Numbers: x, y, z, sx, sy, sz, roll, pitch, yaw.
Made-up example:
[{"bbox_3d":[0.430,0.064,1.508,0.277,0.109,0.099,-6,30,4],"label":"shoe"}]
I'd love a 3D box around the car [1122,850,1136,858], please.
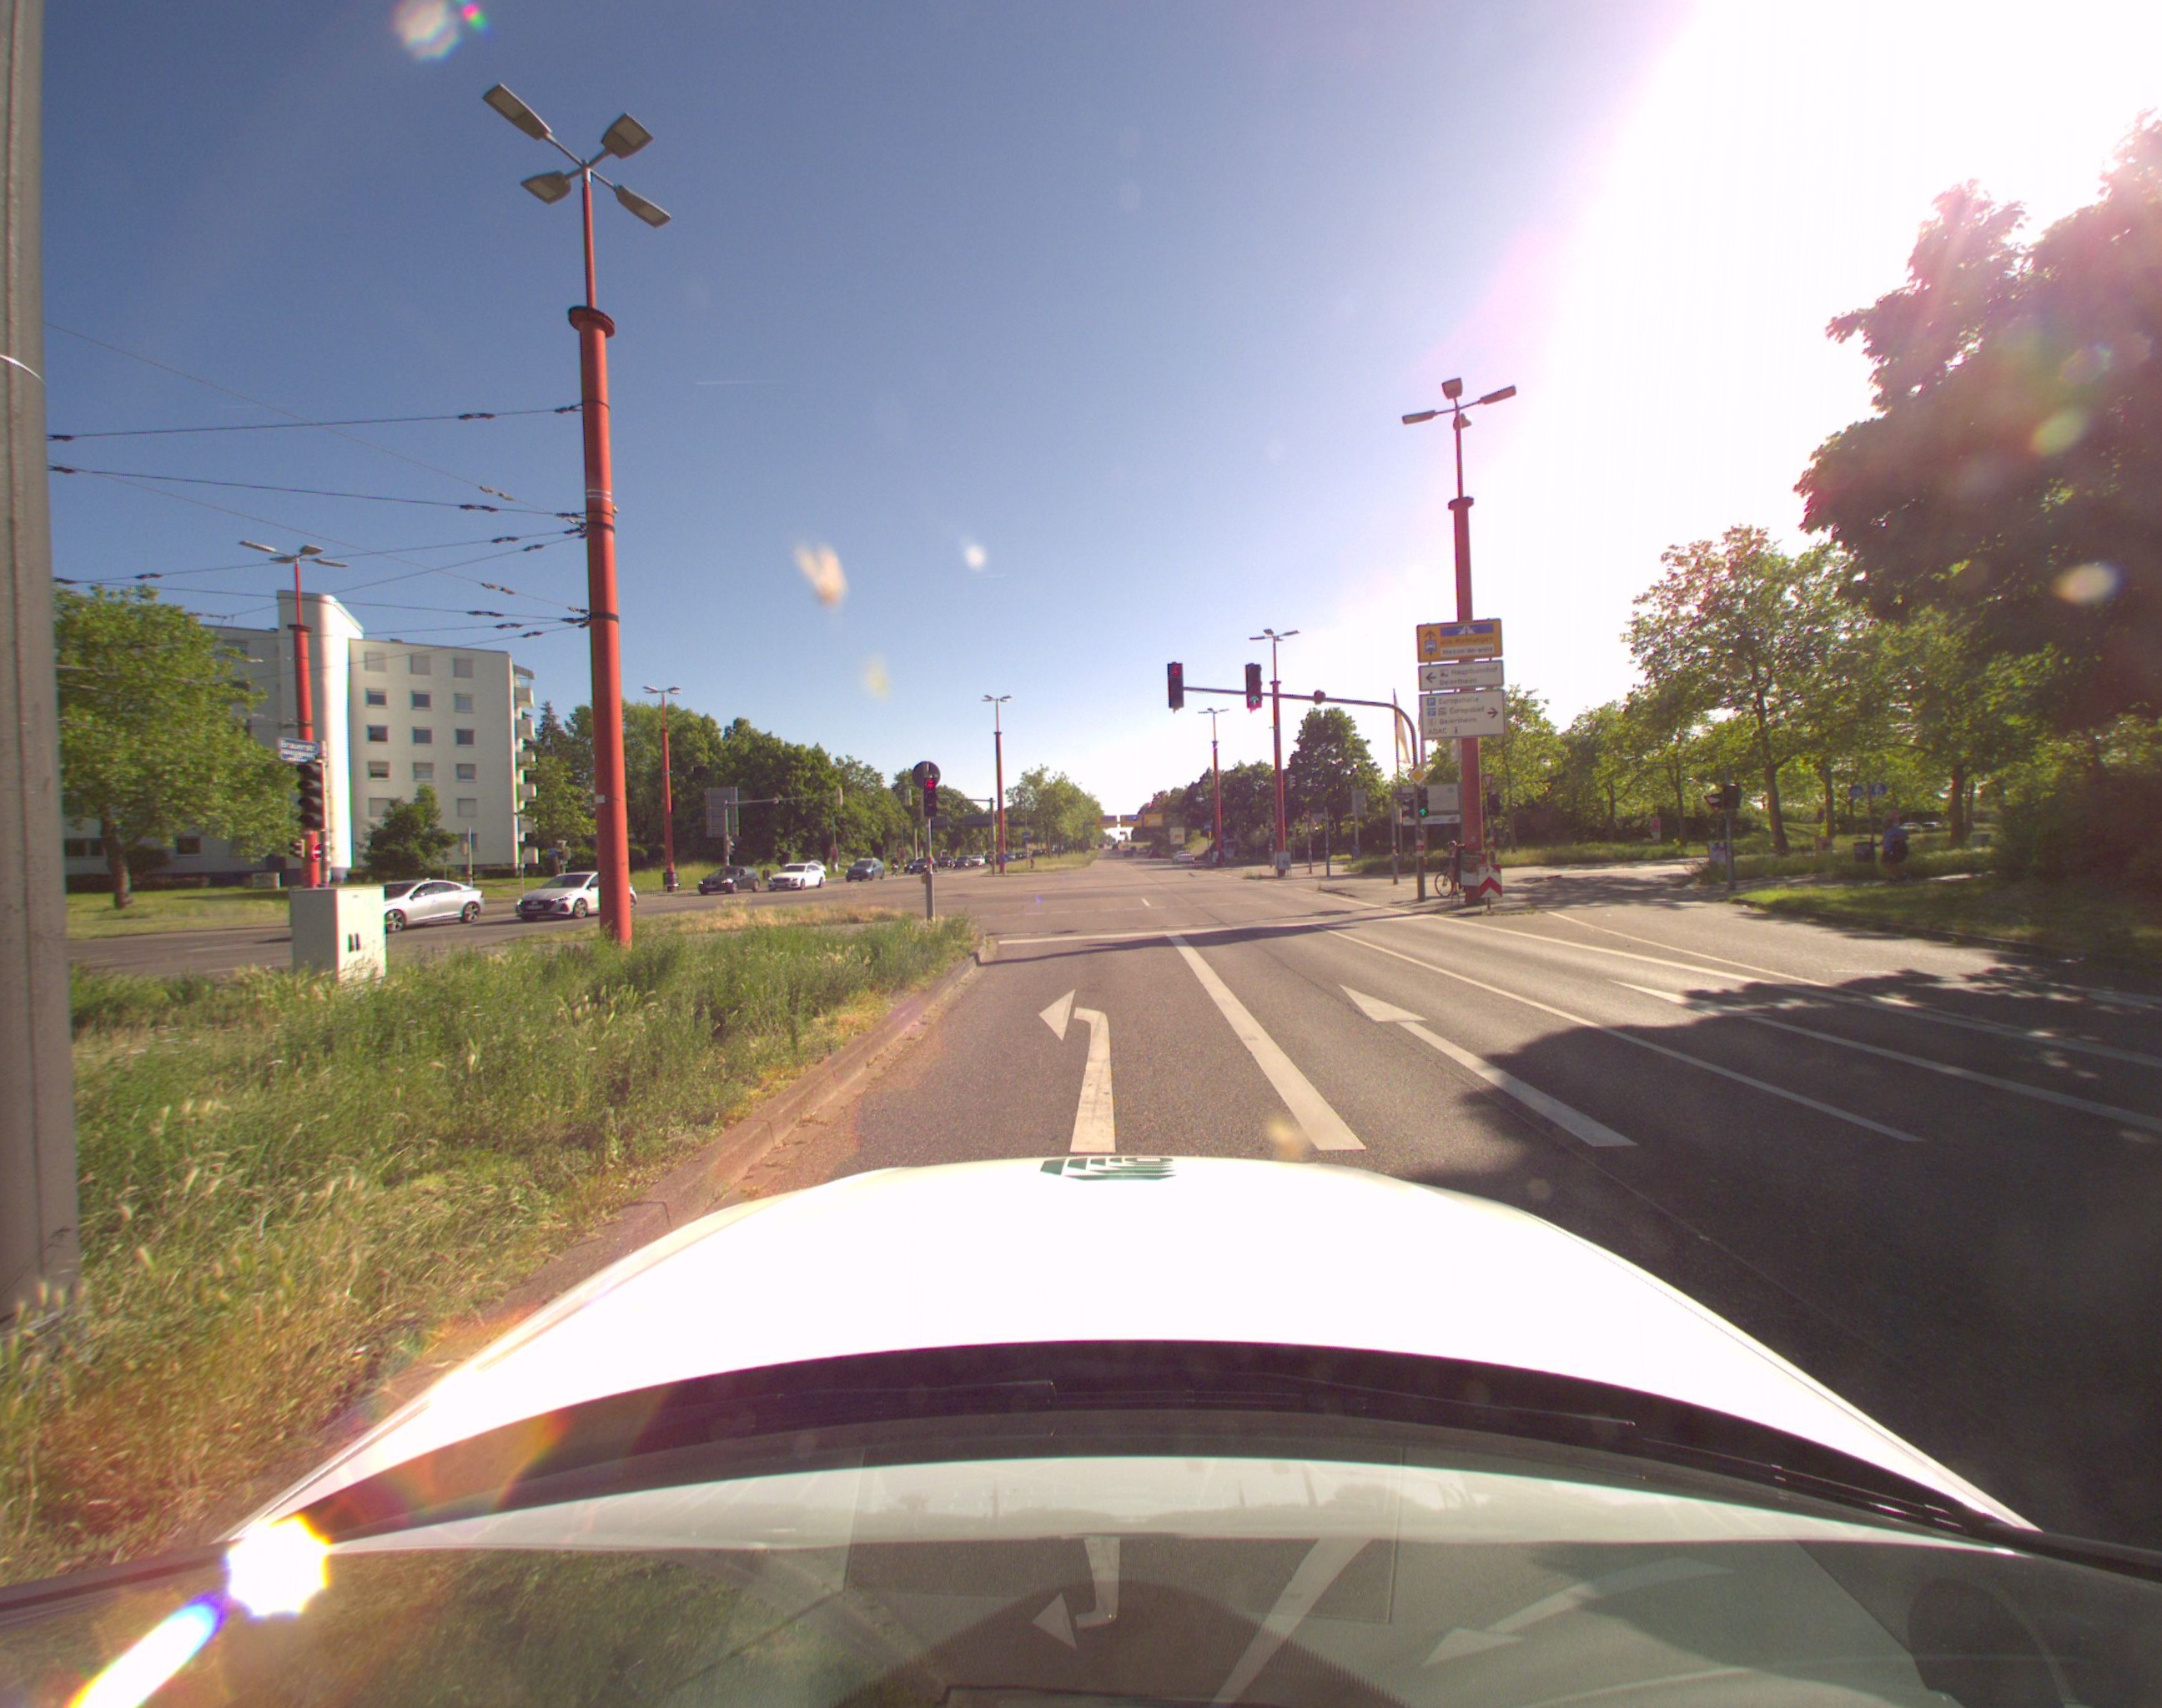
[{"bbox_3d":[8.866,-0.025,150.640,1.989,1.496,3.995,-2,0,-3],"label":"car"}]

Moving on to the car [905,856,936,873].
[{"bbox_3d":[-14.557,0.973,74.170,1.870,1.485,4.605,-1,0,0],"label":"car"}]

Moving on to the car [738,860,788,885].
[{"bbox_3d":[-21.896,1.240,56.215,1.870,1.576,4.000,-1,0,0],"label":"car"}]

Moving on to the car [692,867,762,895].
[{"bbox_3d":[-18.907,1.407,43.685,1.855,1.341,4.031,-3,0,1],"label":"car"}]

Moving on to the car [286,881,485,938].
[{"bbox_3d":[-20.144,1.552,23.899,1.986,1.374,4.401,-1,0,1],"label":"car"}]

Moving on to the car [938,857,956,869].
[{"bbox_3d":[-17.569,1.156,107.092,1.538,1.433,3.887,-3,0,2],"label":"car"}]

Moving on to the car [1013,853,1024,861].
[{"bbox_3d":[-12.009,0.533,155.926,1.697,1.558,3.806,-1,0,2],"label":"car"}]

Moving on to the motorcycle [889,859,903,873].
[{"bbox_3d":[-15.062,0.950,66.387,0.418,1.131,2.100,-1,0,9],"label":"motorcycle"}]

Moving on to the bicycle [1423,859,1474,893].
[{"bbox_3d":[10.773,0.643,23.855,2.181,0.878,0.553,-2,0,-43],"label":"bicycle"}]

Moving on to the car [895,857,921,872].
[{"bbox_3d":[-18.470,1.118,87.072,1.870,1.576,4.000,-1,0,0],"label":"car"}]

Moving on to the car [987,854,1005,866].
[{"bbox_3d":[-10.635,0.709,102.158,1.694,1.421,4.002,1,0,2],"label":"car"}]

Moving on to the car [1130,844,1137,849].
[{"bbox_3d":[14.621,-2.063,226.657,1.984,1.540,4.005,-2,0,4],"label":"car"}]

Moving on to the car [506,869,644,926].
[{"bbox_3d":[-16.131,1.328,26.254,1.582,1.472,4.186,-3,1,3],"label":"car"}]

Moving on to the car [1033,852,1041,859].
[{"bbox_3d":[-10.512,0.320,194.900,1.619,1.739,4.002,-2,0,2],"label":"car"}]

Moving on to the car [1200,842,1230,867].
[{"bbox_3d":[10.612,0.021,64.344,1.979,1.887,4.015,-2,0,14],"label":"car"}]

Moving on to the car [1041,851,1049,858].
[{"bbox_3d":[-9.496,0.172,215.145,1.650,1.747,4.003,-1,0,3],"label":"car"}]

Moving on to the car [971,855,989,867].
[{"bbox_3d":[-13.181,0.862,106.354,1.599,1.459,3.952,-2,0,2],"label":"car"}]

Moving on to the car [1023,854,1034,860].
[{"bbox_3d":[-10.855,0.607,167.795,1.998,1.308,3.998,-2,0,-1],"label":"car"}]

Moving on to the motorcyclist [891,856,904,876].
[{"bbox_3d":[-15.020,0.959,66.537,0.830,1.599,0.642,-1,-1,8],"label":"motorcyclist"}]

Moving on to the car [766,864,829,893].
[{"bbox_3d":[-15.656,1.318,45.155,1.697,1.423,4.644,-3,0,1],"label":"car"}]

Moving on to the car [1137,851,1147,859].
[{"bbox_3d":[13.099,0.233,174.734,1.986,1.540,4.002,-1,0,2],"label":"car"}]

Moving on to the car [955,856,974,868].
[{"bbox_3d":[-13.654,0.921,95.851,1.542,1.377,4.263,-2,0,1],"label":"car"}]

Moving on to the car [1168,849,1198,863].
[{"bbox_3d":[10.605,0.232,85.020,2.052,1.371,4.382,-2,0,-7],"label":"car"}]

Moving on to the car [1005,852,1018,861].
[{"bbox_3d":[-12.138,0.417,143.183,1.697,1.596,4.003,-1,0,3],"label":"car"}]

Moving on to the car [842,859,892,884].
[{"bbox_3d":[-14.785,1.180,56.549,1.985,1.594,4.468,-2,0,3],"label":"car"}]

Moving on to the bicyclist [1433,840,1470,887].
[{"bbox_3d":[10.911,0.281,23.989,0.746,1.341,0.699,-2,0,-41],"label":"bicyclist"}]

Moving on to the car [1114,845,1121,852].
[{"bbox_3d":[11.382,-1.789,252.714,2.146,2.013,4.002,-2,0,2],"label":"car"}]

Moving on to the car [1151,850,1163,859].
[{"bbox_3d":[12.358,0.040,132.971,1.731,1.341,3.083,-2,0,2],"label":"car"}]

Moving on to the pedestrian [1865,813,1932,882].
[{"bbox_3d":[21.604,-0.185,21.544,0.891,1.788,0.898,-1,1,-9],"label":"pedestrian"}]
